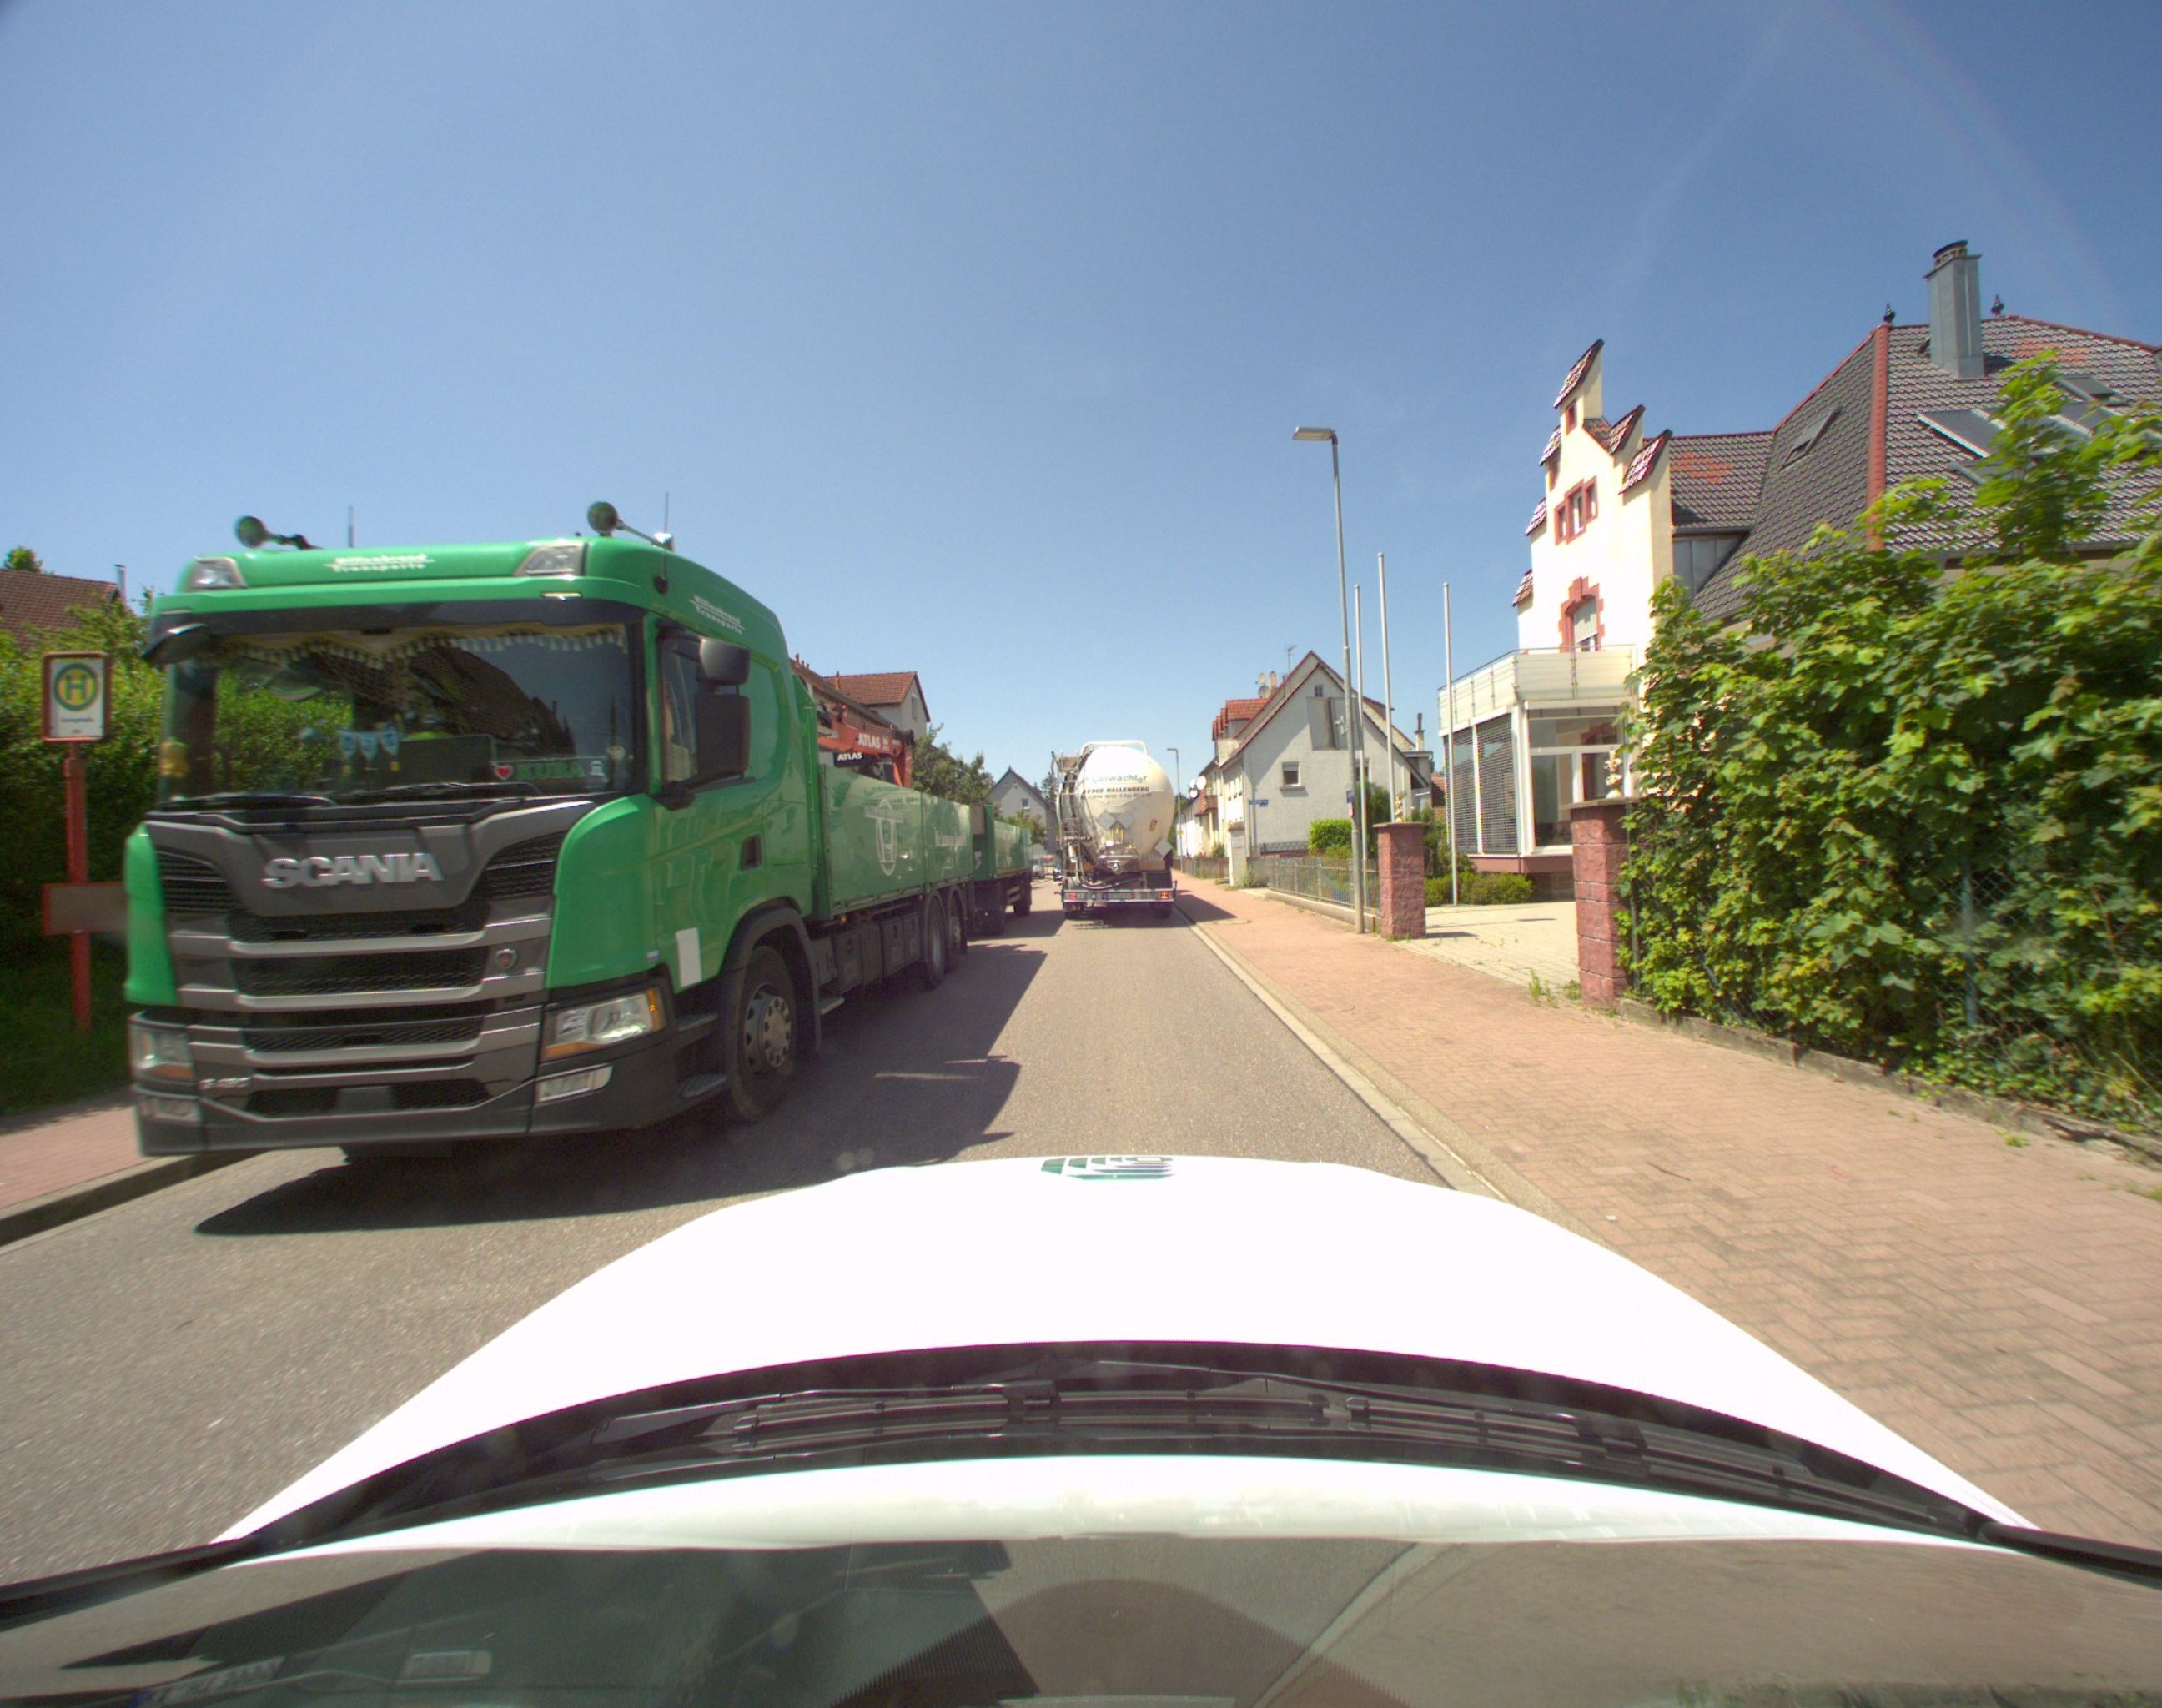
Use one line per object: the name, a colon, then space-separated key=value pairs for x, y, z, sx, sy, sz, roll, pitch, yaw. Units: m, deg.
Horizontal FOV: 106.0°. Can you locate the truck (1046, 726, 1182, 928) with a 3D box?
truck: x=0.795 y=-0.542 z=21.278 sx=2.631 sy=4.016 sz=9.564 roll=-2 pitch=0 yaw=2

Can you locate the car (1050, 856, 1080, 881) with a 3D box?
car: x=-1.021 y=0.935 z=54.604 sx=1.724 sy=1.460 sz=4.696 roll=-3 pitch=0 yaw=2

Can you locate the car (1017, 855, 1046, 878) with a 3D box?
car: x=-3.530 y=0.866 z=58.593 sx=1.691 sy=1.581 sz=3.840 roll=-1 pitch=0 yaw=2

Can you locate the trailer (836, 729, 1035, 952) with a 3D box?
trailer: x=-2.689 y=-0.230 z=17.948 sx=2.521 sy=3.649 sz=8.463 roll=-3 pitch=0 yaw=1

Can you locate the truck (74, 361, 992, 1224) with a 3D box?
truck: x=-2.999 y=-0.276 z=8.662 sx=2.558 sy=3.700 sz=10.081 roll=-3 pitch=0 yaw=1
